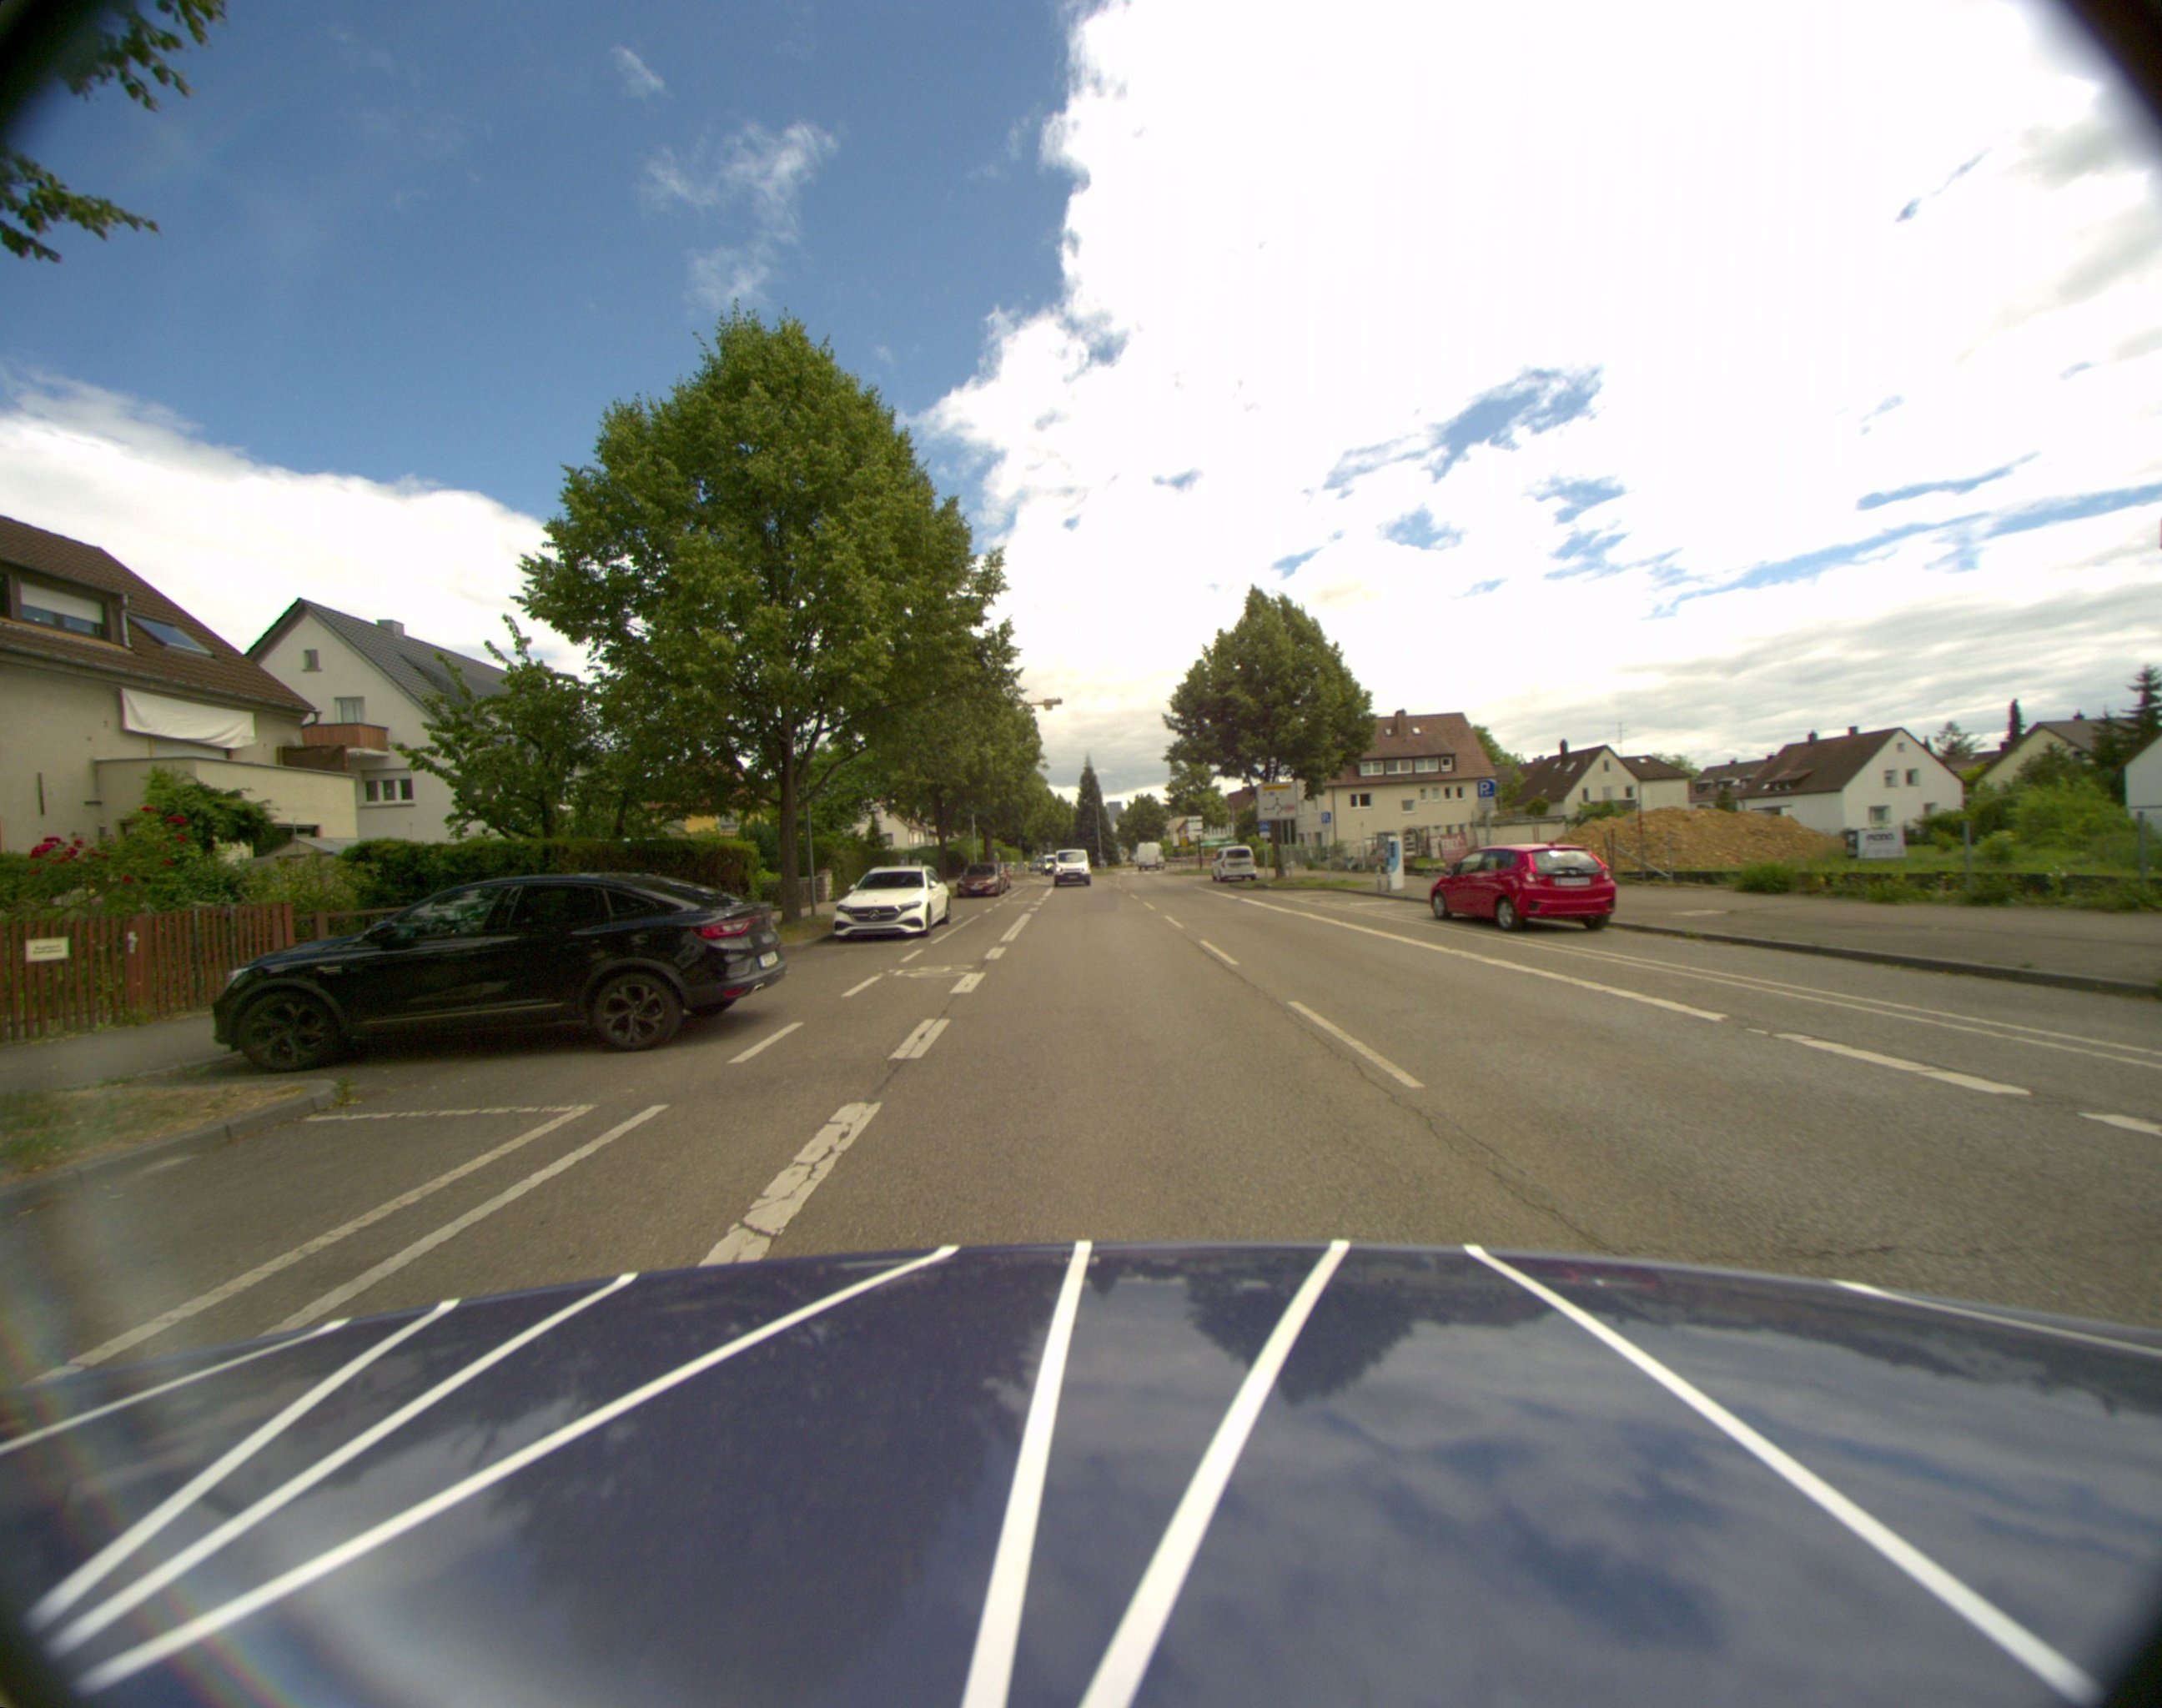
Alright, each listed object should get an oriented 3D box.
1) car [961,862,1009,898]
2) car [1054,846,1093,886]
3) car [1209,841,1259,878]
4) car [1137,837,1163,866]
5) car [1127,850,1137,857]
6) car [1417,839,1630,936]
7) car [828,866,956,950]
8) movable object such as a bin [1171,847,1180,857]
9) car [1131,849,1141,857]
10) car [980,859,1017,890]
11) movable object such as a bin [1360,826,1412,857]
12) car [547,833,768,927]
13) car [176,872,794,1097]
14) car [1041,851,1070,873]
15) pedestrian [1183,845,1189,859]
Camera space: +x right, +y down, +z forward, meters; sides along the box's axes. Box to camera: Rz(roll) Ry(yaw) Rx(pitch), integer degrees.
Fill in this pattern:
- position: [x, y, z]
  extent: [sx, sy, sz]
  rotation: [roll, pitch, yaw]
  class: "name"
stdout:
- position: [-4.182, 1.117, 33.639]
  extent: [1.657, 1.407, 4.176]
  rotation: [-2, 0, -1]
  class: "car"
- position: [-0.413, 0.612, 42.795]
  extent: [1.999, 2.002, 5.050]
  rotation: [-3, 0, 0]
  class: "car"
- position: [8.080, 0.284, 40.588]
  extent: [1.775, 1.760, 4.551]
  rotation: [-3, 0, 1]
  class: "car"
- position: [6.713, -0.276, 74.613]
  extent: [2.024, 2.658, 5.806]
  rotation: [-3, 0, 1]
  class: "car"
- position: [10.900, -0.115, 163.241]
  extent: [1.665, 1.466, 3.746]
  rotation: [-3, 0, -1]
  class: "car"
- position: [8.157, 0.541, 14.504]
  extent: [1.689, 1.532, 4.132]
  rotation: [-2, 0, 1]
  class: "car"
- position: [-4.093, 1.094, 17.316]
  extent: [1.810, 1.466, 4.811]
  rotation: [-3, 0, -2]
  class: "car"
- position: [14.233, -0.249, 114.847]
  extent: [0.984, 1.408, 2.722]
  rotation: [-3, 0, 0]
  class: "movable object such as a bin"
- position: [11.193, -0.170, 156.048]
  extent: [1.665, 1.466, 3.746]
  rotation: [-3, 0, -1]
  class: "car"
- position: [-4.382, 1.064, 40.744]
  extent: [1.569, 1.447, 3.668]
  rotation: [-3, 0, -1]
  class: "car"
- position: [22.681, -0.915, 56.629]
  extent: [1.901, 2.175, 4.361]
  rotation: [-3, 0, -2]
  class: "movable object such as a bin"
- position: [-13.317, 0.791, 24.232]
  extent: [5.730, 2.576, 1.997]
  rotation: [-3, 0, -5]
  class: "car"
- position: [-5.126, 1.060, 7.088]
  extent: [4.230, 1.628, 1.692]
  rotation: [-2, 0, -6]
  class: "car"
- position: [-2.285, 0.720, 66.905]
  extent: [1.928, 1.744, 3.996]
  rotation: [-3, 0, -11]
  class: "car"
- position: [13.945, -0.281, 100.650]
  extent: [0.636, 1.816, 0.567]
  rotation: [-4, 0, 18]
  class: "pedestrian"
